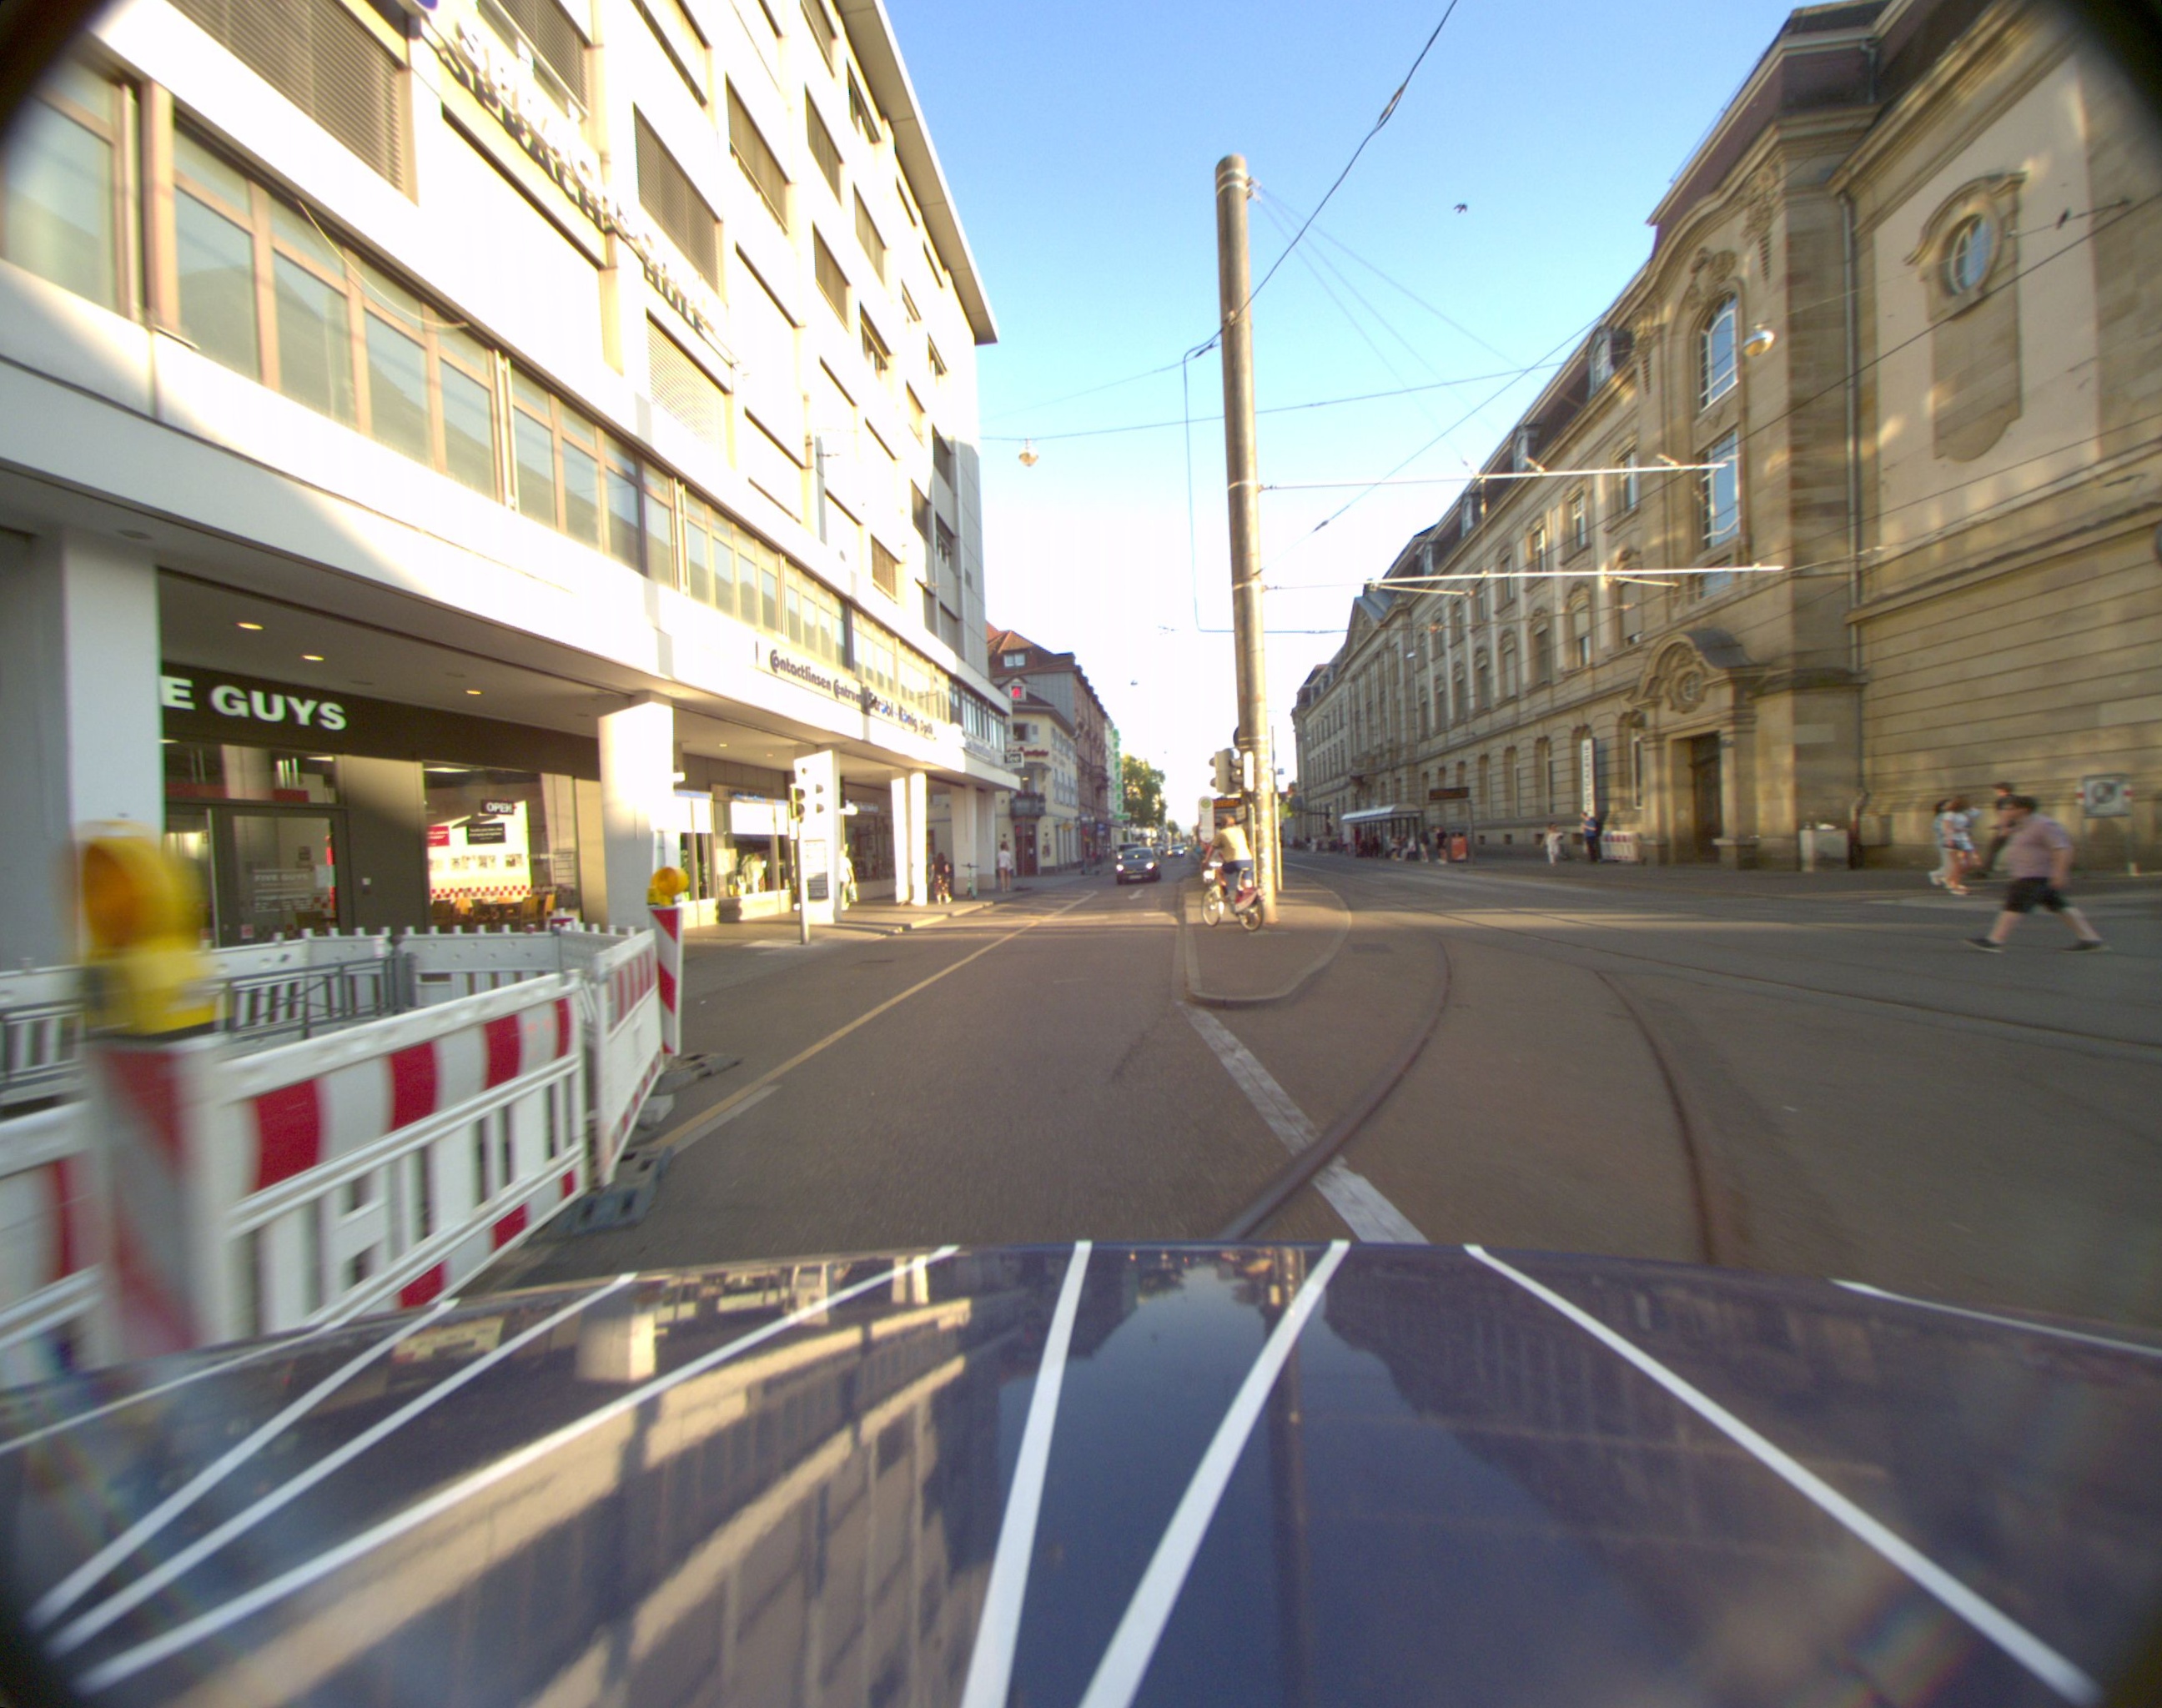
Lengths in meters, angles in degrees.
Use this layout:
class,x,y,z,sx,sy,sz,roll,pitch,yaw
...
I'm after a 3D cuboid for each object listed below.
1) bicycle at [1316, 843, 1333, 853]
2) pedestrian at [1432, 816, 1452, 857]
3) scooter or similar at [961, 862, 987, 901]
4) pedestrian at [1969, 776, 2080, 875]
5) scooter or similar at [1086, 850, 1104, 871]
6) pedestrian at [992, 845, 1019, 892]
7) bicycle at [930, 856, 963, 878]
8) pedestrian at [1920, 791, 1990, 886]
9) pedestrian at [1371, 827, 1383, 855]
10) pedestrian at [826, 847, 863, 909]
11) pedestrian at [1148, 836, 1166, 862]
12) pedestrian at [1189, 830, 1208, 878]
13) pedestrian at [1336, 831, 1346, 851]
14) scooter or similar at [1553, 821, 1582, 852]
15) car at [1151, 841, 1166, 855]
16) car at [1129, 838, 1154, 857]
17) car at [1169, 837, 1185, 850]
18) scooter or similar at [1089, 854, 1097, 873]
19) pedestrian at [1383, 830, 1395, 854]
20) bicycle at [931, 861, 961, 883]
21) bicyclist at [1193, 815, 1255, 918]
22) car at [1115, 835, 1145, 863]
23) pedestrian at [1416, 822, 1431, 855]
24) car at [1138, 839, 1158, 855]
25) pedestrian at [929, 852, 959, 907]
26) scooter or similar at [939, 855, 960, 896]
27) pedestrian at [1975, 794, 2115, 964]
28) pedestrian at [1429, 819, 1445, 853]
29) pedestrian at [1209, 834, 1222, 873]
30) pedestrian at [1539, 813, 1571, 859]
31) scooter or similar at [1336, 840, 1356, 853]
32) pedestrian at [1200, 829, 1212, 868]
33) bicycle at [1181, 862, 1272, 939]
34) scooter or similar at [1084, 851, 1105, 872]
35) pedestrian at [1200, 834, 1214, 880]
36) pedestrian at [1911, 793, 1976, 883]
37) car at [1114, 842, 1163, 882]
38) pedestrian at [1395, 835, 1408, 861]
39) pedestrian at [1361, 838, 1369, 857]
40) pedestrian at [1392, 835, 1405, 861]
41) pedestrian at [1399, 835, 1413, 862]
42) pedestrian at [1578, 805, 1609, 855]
class,x,y,z,sx,sy,sz,roll,pitch,yaw
bicycle,25.617,-0.626,79.886,1.578,0.869,0.451,-3,1,13
pedestrian,15.809,-0.774,33.305,0.562,1.766,0.468,-3,1,-27
scooter or similar,-3.539,0.901,25.177,0.506,1.227,1.180,-2,1,7
pedestrian,16.287,-0.481,13.148,0.690,1.619,0.972,-3,1,7
scooter or similar,0.865,0.414,46.246,1.049,1.227,0.271,-2,2,-24
pedestrian,-2.973,0.574,30.158,0.700,1.805,0.853,-3,1,14
bicycle,-8.012,0.743,45.335,0.770,1.174,1.850,-3,1,38
pedestrian,14.426,-0.247,12.551,0.527,1.516,0.502,-3,1,-2
pedestrian,17.763,-0.782,45.642,0.518,1.641,0.639,-2,2,30
pedestrian,-7.055,0.711,22.669,0.700,1.805,0.631,-3,1,15
pedestrian,5.048,-0.342,50.273,0.970,1.619,0.692,-3,1,19
pedestrian,4.434,-0.006,28.648,0.540,1.757,0.595,-3,1,13
pedestrian,21.234,-1.096,62.080,0.573,1.596,0.439,-5,2,-41
scooter or similar,19.697,-0.705,30.806,0.487,1.175,1.294,-3,1,10
car,11.769,-0.961,115.125,1.856,2.055,5.218,-2,1,8
car,5.310,-0.565,66.670,1.809,1.474,4.780,-5,0,8
car,11.816,-1.277,93.496,1.809,1.474,4.285,-5,0,8
scooter or similar,0.782,0.619,50.160,0.272,1.227,1.308,-1,2,12
pedestrian,17.541,-0.701,43.256,0.518,1.320,0.638,-2,2,12
bicycle,-6.745,0.889,38.039,0.770,1.022,1.848,-3,-1,11
bicyclist,2.297,0.197,12.271,0.611,1.584,0.790,-3,1,-21
car,3.779,-0.433,57.863,1.880,1.912,4.701,-5,1,8
pedestrian,16.512,-0.760,36.633,0.518,1.560,0.638,-2,2,12
car,6.870,-0.746,77.767,1.736,1.502,4.867,-5,1,8
pedestrian,-4.326,0.789,23.983,0.702,1.683,0.540,-4,1,-30
scooter or similar,-5.044,0.809,29.174,0.314,1.480,1.315,-2,1,8
pedestrian,9.870,0.231,7.798,0.805,1.619,0.833,-3,1,-38
pedestrian,17.218,-0.879,36.720,0.518,1.636,0.638,-2,2,12
pedestrian,5.719,-0.033,32.321,0.386,1.632,0.549,-3,1,6
pedestrian,16.911,-0.634,27.144,0.701,1.605,0.631,-3,1,6
scooter or similar,23.191,-0.645,66.573,1.549,1.062,0.451,-3,1,13
pedestrian,5.767,-0.240,35.097,0.413,1.757,0.594,-3,1,6
bicycle,2.312,0.709,12.261,0.630,1.097,1.622,-2,2,-23
scooter or similar,0.793,0.439,45.551,1.177,1.227,0.317,0,2,24
pedestrian,4.527,0.106,27.330,0.357,1.632,0.503,-3,1,6
pedestrian,14.976,-0.275,13.200,0.519,1.516,0.501,-3,1,2
car,2.547,0.289,32.921,1.737,1.495,4.002,-3,1,8
pedestrian,16.924,-0.307,40.133,0.518,1.320,0.638,-2,2,12
pedestrian,18.286,-0.441,48.981,0.365,1.193,0.430,-3,1,14
pedestrian,17.118,-0.330,40.976,0.518,1.320,0.638,-2,2,12
pedestrian,16.822,-0.291,39.363,0.518,1.320,0.638,-2,2,12
pedestrian,18.523,-0.861,27.473,0.622,1.766,0.706,-3,1,5
